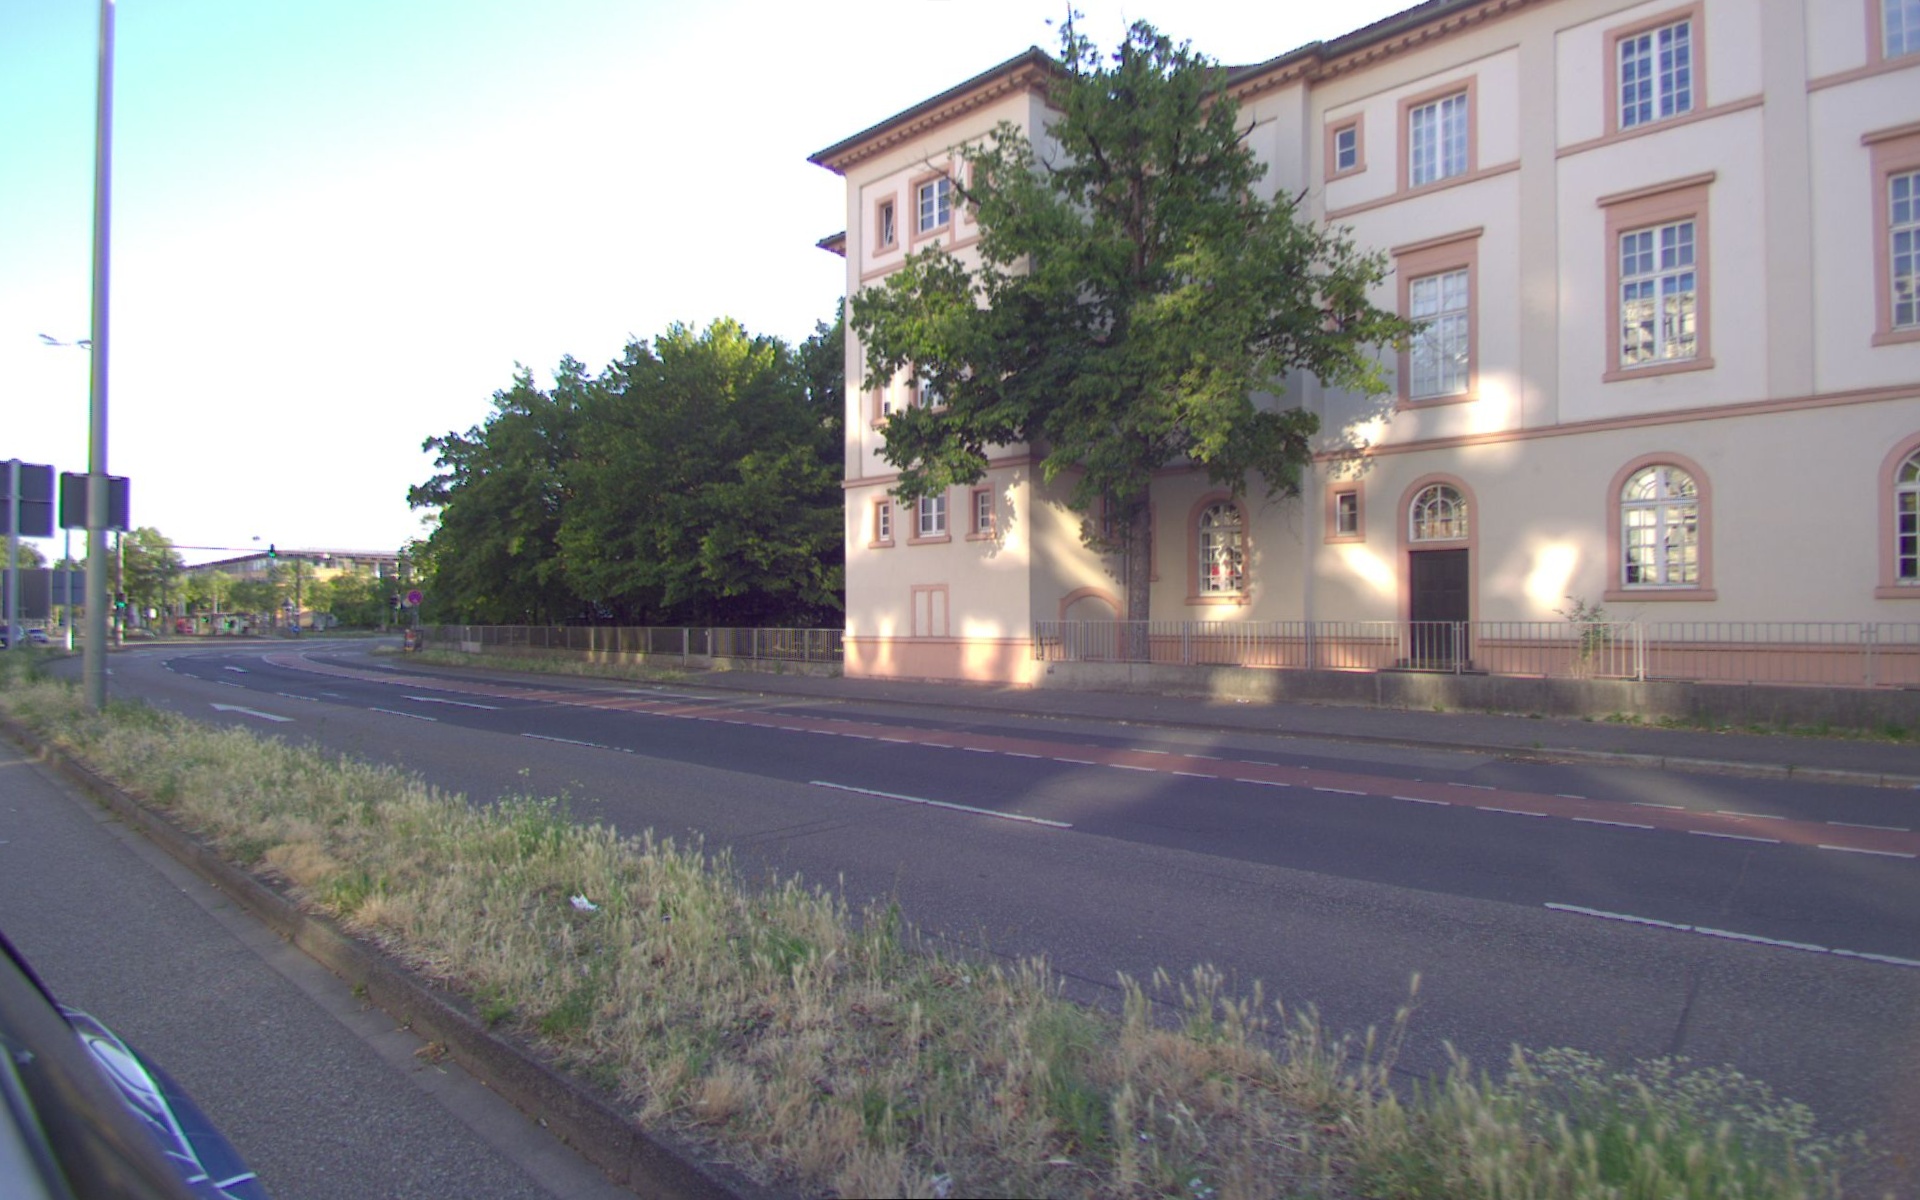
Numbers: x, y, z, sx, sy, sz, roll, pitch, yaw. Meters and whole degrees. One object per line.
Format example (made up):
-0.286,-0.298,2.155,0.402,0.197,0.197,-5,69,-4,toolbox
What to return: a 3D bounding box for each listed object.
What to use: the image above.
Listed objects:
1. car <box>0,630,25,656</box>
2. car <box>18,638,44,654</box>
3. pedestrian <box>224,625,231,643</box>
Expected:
-55.733,2.476,58.689,1.704,1.460,4.055,-1,-1,-36,car
-88.810,4.406,96.798,1.650,1.429,4.447,-1,-1,-40,car
-84.274,3.898,116.402,0.664,2.029,0.549,-2,-2,41,pedestrian
